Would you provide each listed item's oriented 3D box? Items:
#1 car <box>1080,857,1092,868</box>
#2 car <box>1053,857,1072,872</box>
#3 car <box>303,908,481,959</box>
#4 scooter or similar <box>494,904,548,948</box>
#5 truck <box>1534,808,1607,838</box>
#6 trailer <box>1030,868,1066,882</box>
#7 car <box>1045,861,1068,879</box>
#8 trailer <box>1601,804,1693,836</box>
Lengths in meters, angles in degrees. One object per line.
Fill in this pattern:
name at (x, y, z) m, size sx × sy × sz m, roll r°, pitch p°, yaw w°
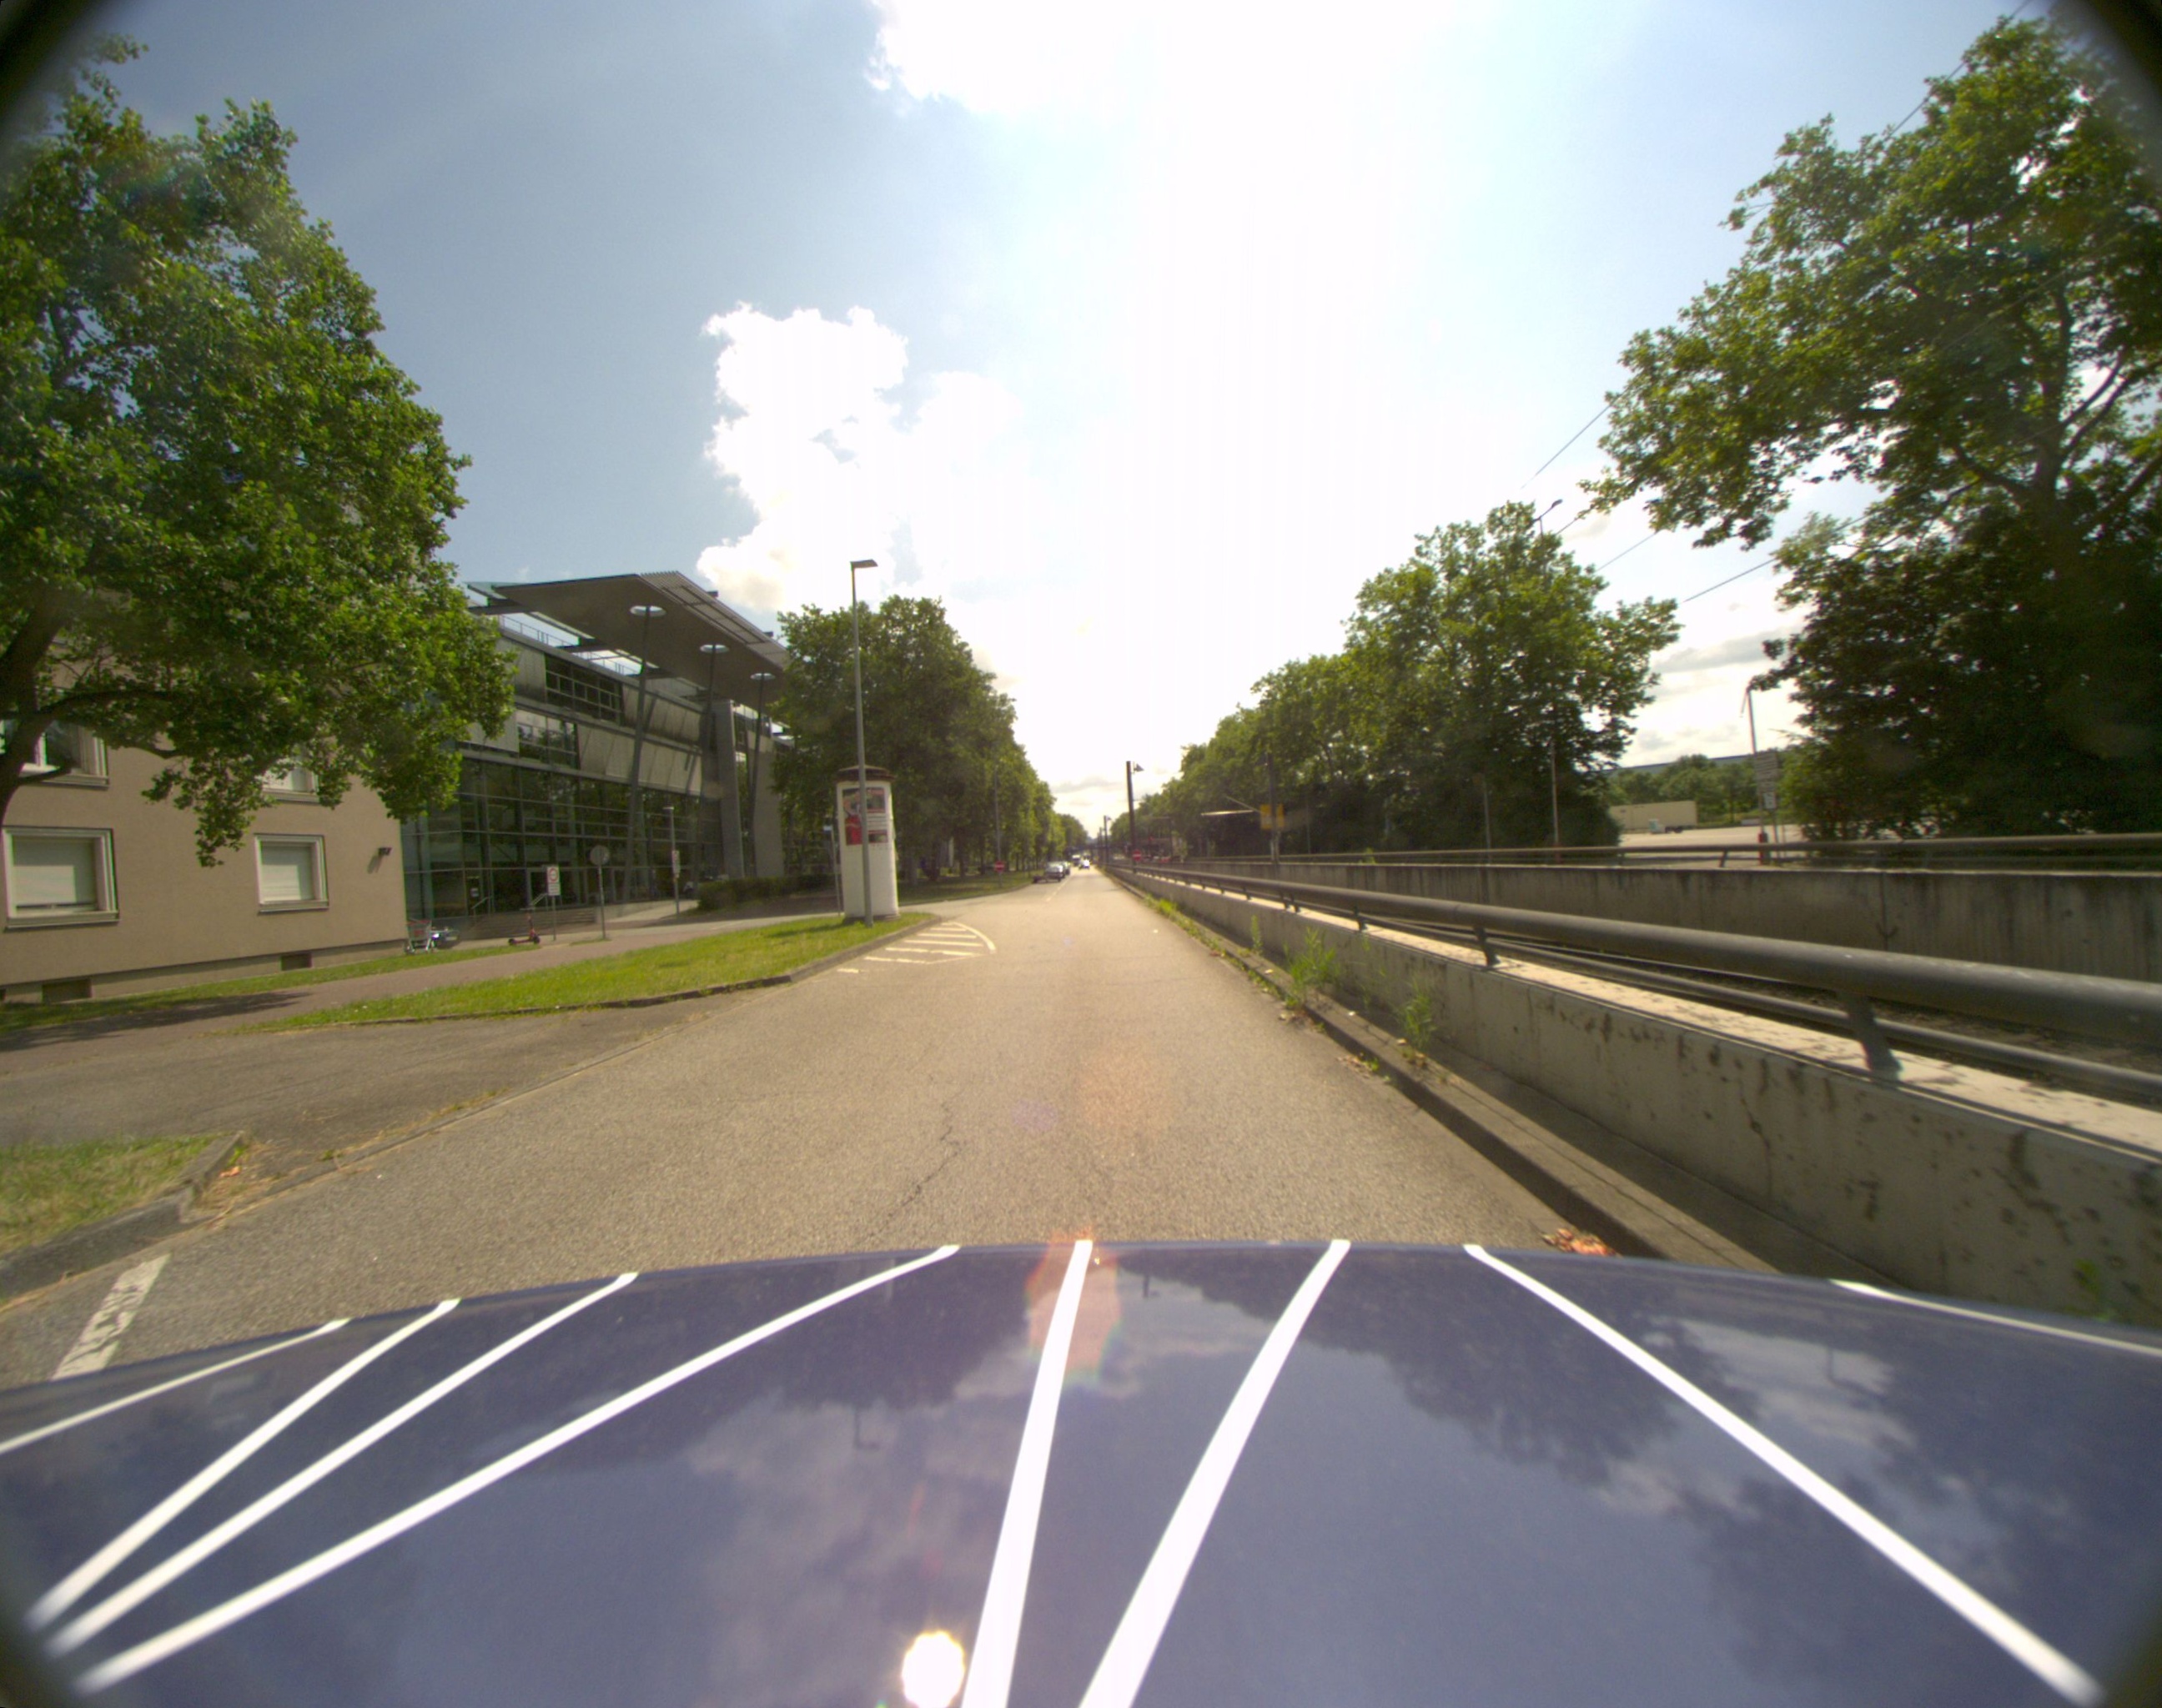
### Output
car at (0.866, 1.458, 130.443) m, size 1.998 × 1.710 × 4.305 m, roll -2°, pitch 0°, yaw 1°
car at (-2.080, 1.162, 85.313) m, size 1.809 × 1.496 × 3.734 m, roll -4°, pitch 0°, yaw 1°
car at (-24.638, 2.828, 27.304) m, size 4.463 × 1.346 × 2.000 m, roll -3°, pitch 0°, yaw -1°
scooter or similar at (-17.712, 2.265, 24.038) m, size 1.441 × 1.295 × 0.548 m, roll -4°, pitch 1°, yaw 16°
truck at (65.886, -4.086, 102.323) m, size 3.065 × 3.640 × 7.704 m, roll -2°, pitch 0°, yaw -44°
trailer at (-2.474, 1.584, 58.329) m, size 2.303 × 0.823 × 6.820 m, roll -3°, pitch 0°, yaw 1°
car at (-2.214, 1.466, 69.943) m, size 1.809 × 1.496 × 3.734 m, roll -4°, pitch 0°, yaw 1°
trailer at (71.710, -4.213, 96.429) m, size 2.873 × 3.478 × 8.870 m, roll -2°, pitch 0°, yaw -44°
